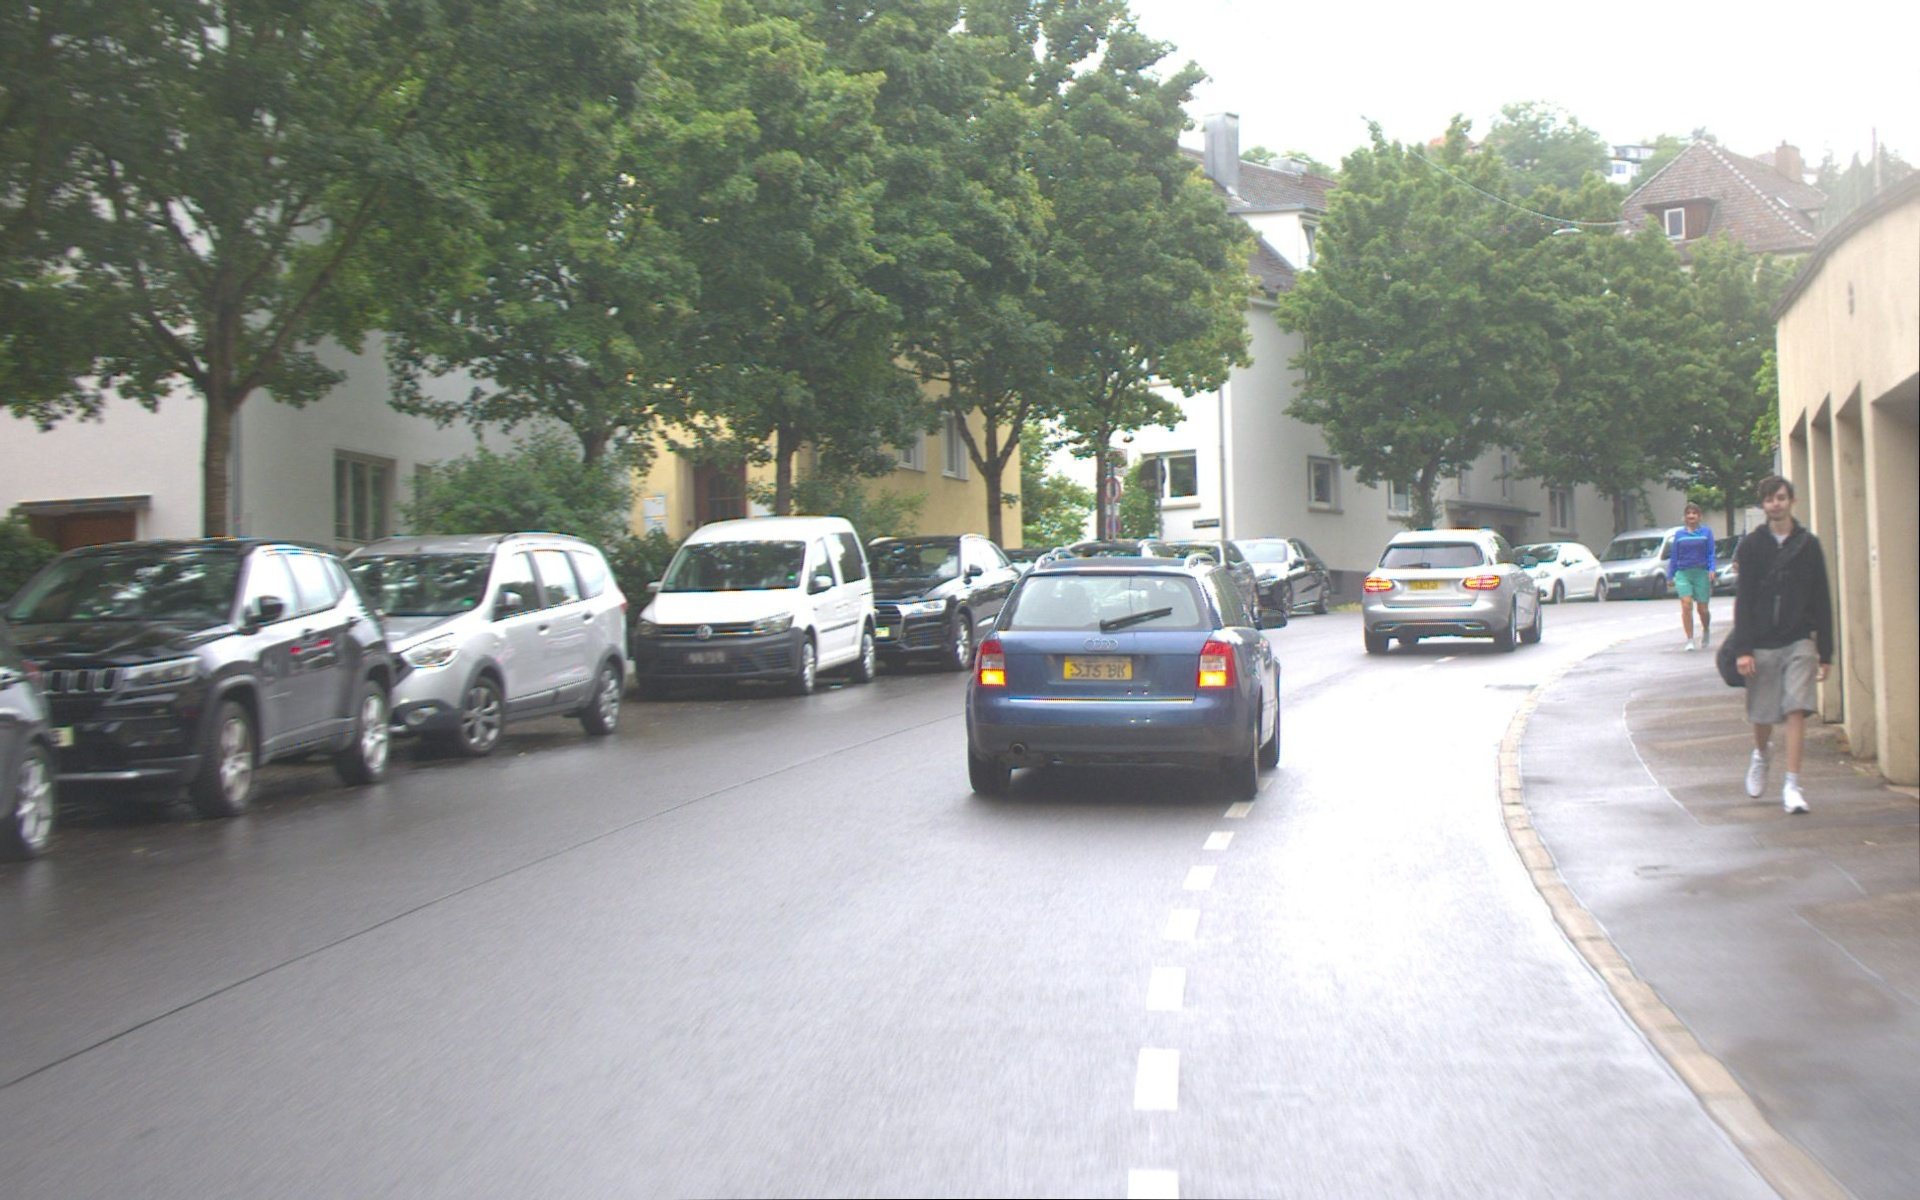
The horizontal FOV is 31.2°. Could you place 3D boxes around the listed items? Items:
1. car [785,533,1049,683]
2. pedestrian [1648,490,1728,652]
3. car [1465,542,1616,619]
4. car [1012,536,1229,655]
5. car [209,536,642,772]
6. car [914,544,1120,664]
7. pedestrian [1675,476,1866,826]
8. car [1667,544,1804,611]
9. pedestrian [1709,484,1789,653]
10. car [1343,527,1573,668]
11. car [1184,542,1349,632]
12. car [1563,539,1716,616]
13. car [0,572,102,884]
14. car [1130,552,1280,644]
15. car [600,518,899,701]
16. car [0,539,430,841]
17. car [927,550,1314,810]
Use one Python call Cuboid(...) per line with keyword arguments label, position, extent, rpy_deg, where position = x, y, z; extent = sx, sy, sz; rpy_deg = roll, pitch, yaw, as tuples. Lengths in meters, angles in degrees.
Cuboid(label="car", position=(-0.443, 0.062, 41.345), extent=(1.855, 1.662, 4.584), rpy_deg=(-1, 1, 16))
Cuboid(label="pedestrian", position=(8.162, -0.321, 38.532), extent=(0.775, 1.752, 1.011), rpy_deg=(-3, 0, 13))
Cuboid(label="car", position=(12.853, -0.405, 75.944), extent=(1.787, 1.509, 4.338), rpy_deg=(-5, -3, 30))
Cuboid(label="car", position=(2.477, -0.093, 51.829), extent=(1.856, 1.684, 4.550), rpy_deg=(-1, 1, 22))
Cuboid(label="car", position=(-4.082, 0.357, 27.077), extent=(1.748, 1.684, 4.597), rpy_deg=(-1, 1, 13))
Cuboid(label="car", position=(0.826, 0.018, 46.256), extent=(1.855, 1.493, 4.738), rpy_deg=(-1, 1, 12))
Cuboid(label="pedestrian", position=(4.382, 0.270, 18.632), extent=(0.899, 1.844, 0.803), rpy_deg=(-1, 0, 8))
Cuboid(label="car", position=(19.197, -0.541, 84.998), extent=(1.808, 1.481, 4.227), rpy_deg=(-5, -3, 34))
Cuboid(label="pedestrian", position=(8.800, -0.347, 38.358), extent=(0.776, 1.826, 1.250), rpy_deg=(-3, 0, 13))
Cuboid(label="car", position=(6.132, -0.076, 41.965), extent=(1.952, 1.556, 4.259), rpy_deg=(1, 2, 20))
Cuboid(label="car", position=(5.506, -0.256, 61.336), extent=(1.777, 1.535, 4.512), rpy_deg=(-1, 1, 21))
Cuboid(label="car", position=(15.975, -0.510, 80.686), extent=(1.788, 1.640, 4.337), rpy_deg=(-6, -3, 35))
Cuboid(label="car", position=(-5.560, 0.645, 15.964), extent=(1.787, 1.488, 4.361), rpy_deg=(-1, 1, 4))
Cuboid(label="car", position=(4.076, -0.057, 56.642), extent=(1.615, 1.392, 4.320), rpy_deg=(-1, 1, 15))
Cuboid(label="car", position=(-2.120, 0.059, 36.013), extent=(1.855, 1.770, 4.480), rpy_deg=(-1, 1, 14))
Cuboid(label="car", position=(-4.829, 0.465, 21.032), extent=(1.788, 1.635, 4.478), rpy_deg=(-1, 1, 10))
Cuboid(label="car", position=(1.125, 0.433, 21.711), extent=(1.854, 1.409, 4.360), rpy_deg=(-2, 0, 10))
